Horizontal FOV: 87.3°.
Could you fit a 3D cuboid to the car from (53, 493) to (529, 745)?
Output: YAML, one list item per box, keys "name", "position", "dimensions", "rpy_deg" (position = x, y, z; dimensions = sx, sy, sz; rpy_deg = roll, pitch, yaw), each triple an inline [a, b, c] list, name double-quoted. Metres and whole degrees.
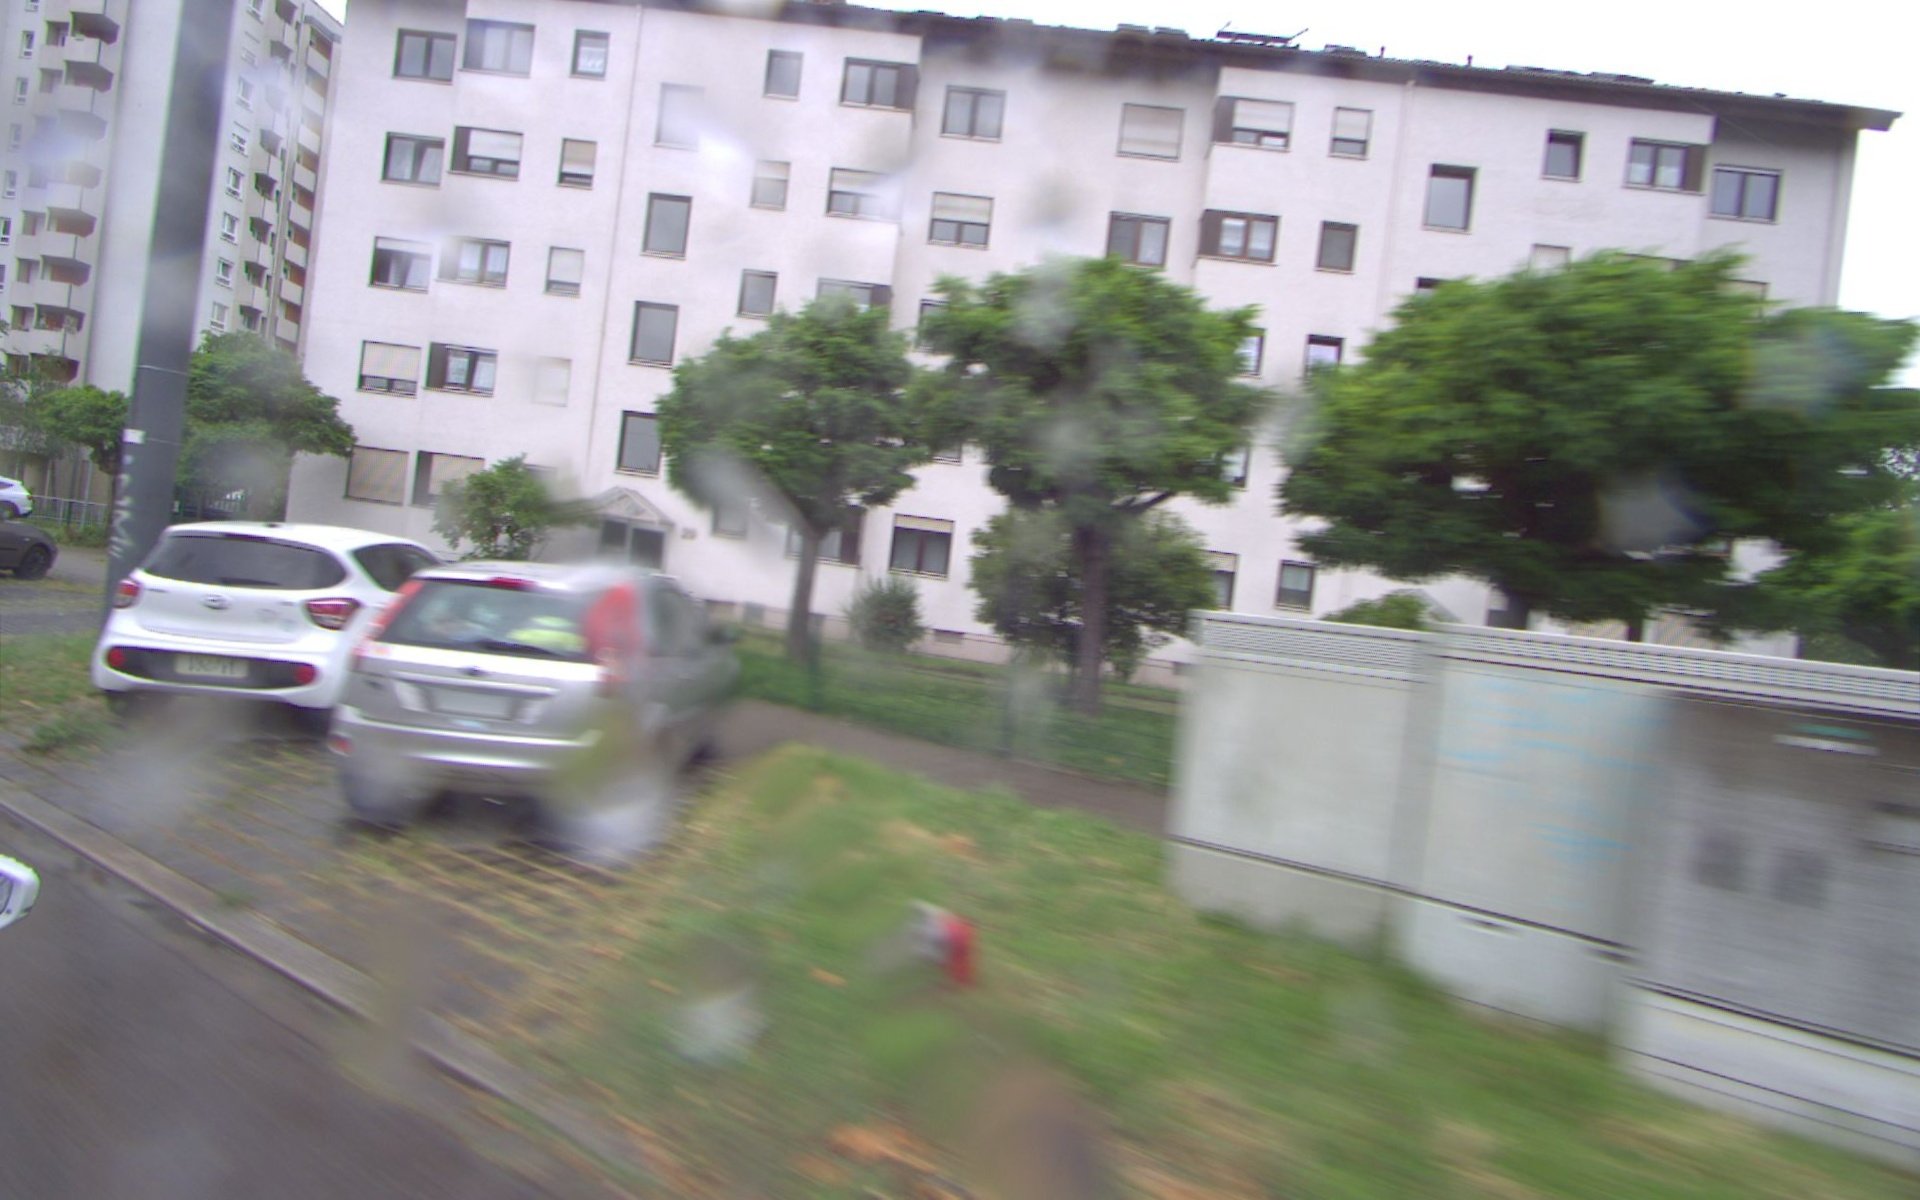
- name: "car"
  position: [-5.254, 0.123, 8.633]
  dimensions: [1.675, 1.527, 3.995]
  rpy_deg: [5, 0, -7]

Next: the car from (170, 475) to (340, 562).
- name: "car"
  position: [-31.909, -3.605, 45.860]
  dimensions: [2.090, 2.999, 6.078]
  rpy_deg: [7, -1, 18]

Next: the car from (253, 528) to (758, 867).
- name: "car"
  position: [-2.615, 0.481, 6.917]
  dimensions: [1.751, 1.527, 3.997]
  rpy_deg: [5, 0, -3]

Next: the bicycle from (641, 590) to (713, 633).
- name: "bicycle"
  position: [-6.891, 0.288, 24.523]
  dimensions: [1.542, 0.858, 0.491]
  rpy_deg: [7, 1, 6]

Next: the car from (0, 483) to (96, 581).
- name: "car"
  position: [-15.200, -1.121, 14.859]
  dimensions: [1.705, 1.446, 3.993]
  rpy_deg: [7, 0, -8]

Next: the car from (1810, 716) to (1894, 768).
- name: "car"
  position: [37.043, 5.843, 41.903]
  dimensions: [1.657, 1.676, 4.299]
  rpy_deg: [7, 0, 31]

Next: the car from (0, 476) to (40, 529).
- name: "car"
  position: [-35.921, -3.756, 35.391]
  dimensions: [1.962, 1.766, 4.820]
  rpy_deg: [7, -1, 18]
